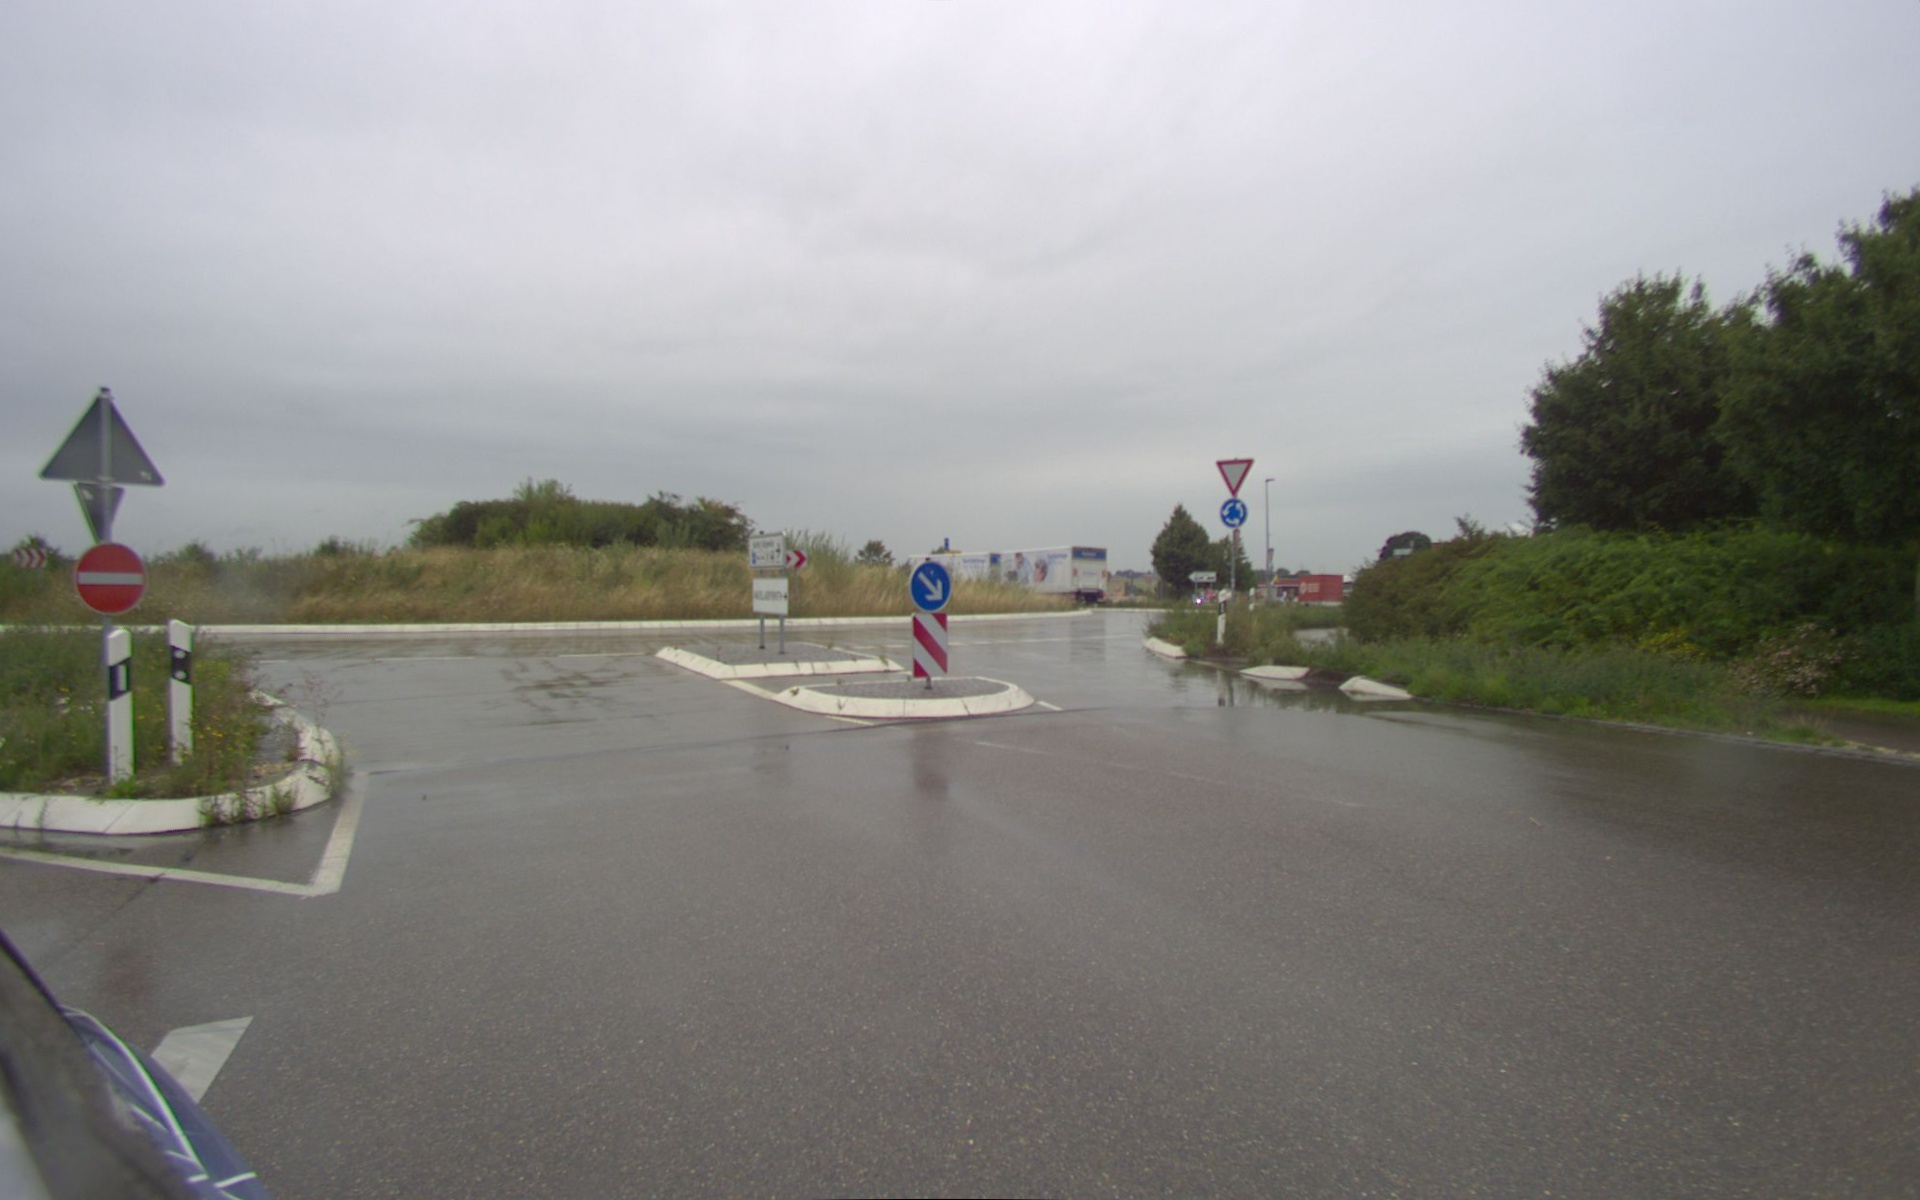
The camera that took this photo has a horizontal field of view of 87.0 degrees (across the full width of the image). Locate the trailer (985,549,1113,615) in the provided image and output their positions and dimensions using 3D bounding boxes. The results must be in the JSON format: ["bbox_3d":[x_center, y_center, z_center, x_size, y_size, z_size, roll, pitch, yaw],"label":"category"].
[{"bbox_3d":[5.125,-0.961,60.454,3.047,3.641,8.886,-1,0,-30],"label":"trailer"}]

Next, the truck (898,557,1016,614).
[{"bbox_3d":[-0.293,-0.888,67.464,3.070,3.625,8.181,-1,0,-44],"label":"truck"}]

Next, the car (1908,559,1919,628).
[{"bbox_3d":[25.900,-0.204,23.973,1.965,1.735,4.624,0,-1,-28],"label":"car"}]
